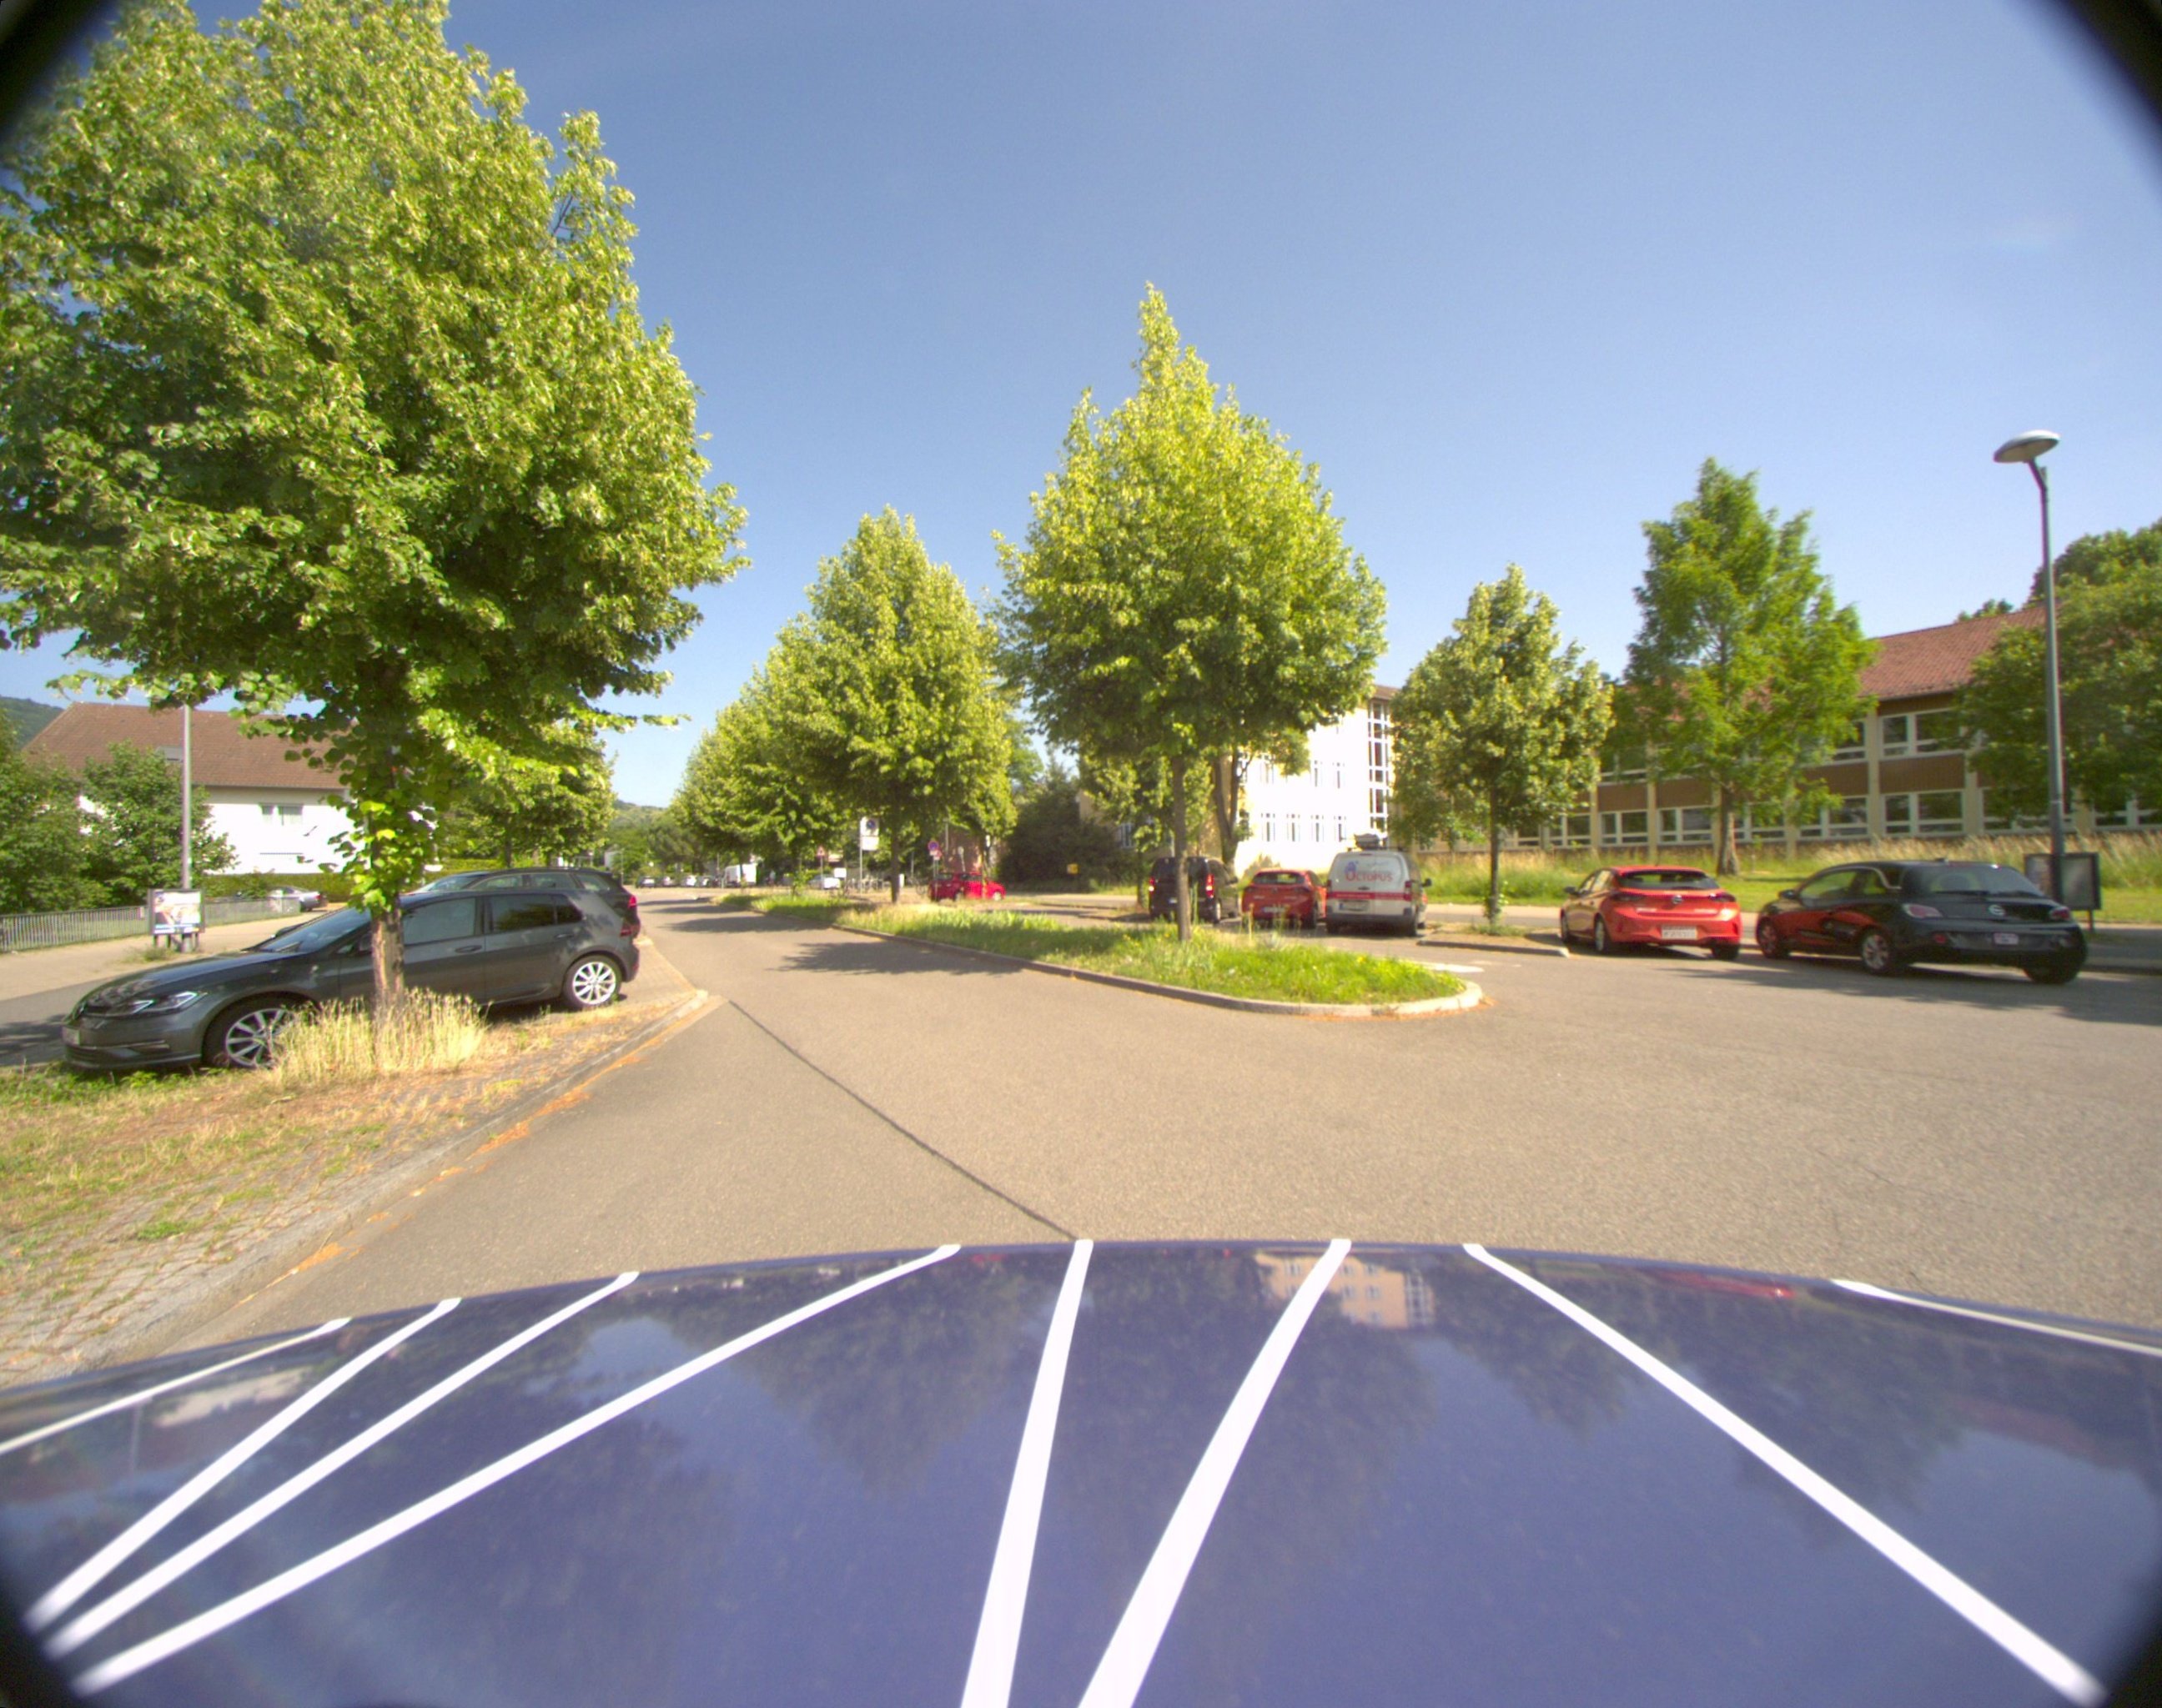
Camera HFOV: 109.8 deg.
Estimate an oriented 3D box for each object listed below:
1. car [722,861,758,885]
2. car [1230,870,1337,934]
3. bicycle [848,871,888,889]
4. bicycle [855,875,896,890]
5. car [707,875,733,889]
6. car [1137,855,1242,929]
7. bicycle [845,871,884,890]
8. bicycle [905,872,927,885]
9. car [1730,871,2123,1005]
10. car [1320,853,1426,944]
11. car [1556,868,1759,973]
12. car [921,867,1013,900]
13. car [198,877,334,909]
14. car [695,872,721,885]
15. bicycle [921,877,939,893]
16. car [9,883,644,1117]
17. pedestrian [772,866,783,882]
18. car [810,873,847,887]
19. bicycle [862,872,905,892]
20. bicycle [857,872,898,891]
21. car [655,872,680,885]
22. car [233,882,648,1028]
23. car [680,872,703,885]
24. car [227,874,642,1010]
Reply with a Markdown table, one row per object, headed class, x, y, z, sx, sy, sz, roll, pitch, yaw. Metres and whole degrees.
| class | x | y | z | sx | sy | sz | roll | pitch | yaw |
| --- | --- | --- | --- | --- | --- | --- | --- | --- | --- |
| car | -37.199 | 2.137 | 82.724 | 2.100 | 2.481 | 5.937 | 1 | -2 | -40 |
| car | 5.176 | 1.140 | 19.090 | 1.851 | 1.419 | 3.782 | -2 | -2 | 26 |
| bicycle | -14.711 | 1.778 | 52.428 | 2.558 | 1.231 | 0.738 | 1 | -2 | -35 |
| bicycle | -13.864 | 1.894 | 51.316 | 2.558 | 0.981 | 0.738 | 1 | -2 | -35 |
| car | -41.274 | 3.198 | 86.870 | 1.729 | 1.549 | 3.990 | 1 | -2 | -41 |
| car | 3.080 | 1.000 | 20.828 | 2.000 | 1.805 | 4.195 | -2 | -2 | 20 |
| bicycle | -15.149 | 1.853 | 53.224 | 2.558 | 1.248 | 0.738 | 1 | -2 | -35 |
| bicycle | -13.836 | 2.034 | 63.780 | 1.714 | 1.074 | 0.378 | -2 | -1 | 8 |
| car | 10.840 | 0.946 | 10.226 | 1.852 | 1.414 | 3.780 | 0 | -1 | 17 |
| car | 6.534 | 0.883 | 16.764 | 1.815 | 1.761 | 3.781 | -1 | 0 | 26 |
| car | 9.376 | 0.975 | 12.723 | 1.712 | 1.415 | 3.849 | -1 | 0 | 22 |
| car | -5.244 | 1.365 | 35.308 | 1.994 | 1.457 | 4.009 | -2 | -2 | 36 |
| car | -39.318 | 1.872 | 36.816 | 4.136 | 1.389 | 1.807 | 0 | -4 | -33 |
| car | -44.525 | 2.930 | 90.608 | 1.729 | 1.549 | 4.660 | 1 | -2 | -41 |
| bicycle | -8.721 | 1.800 | 43.800 | 0.523 | 0.898 | 1.267 | 1 | -1 | -38 |
| car | -7.075 | 1.137 | 7.702 | 1.995 | 1.521 | 4.125 | -2 | -1 | 28 |
| pedestrian | -33.639 | 2.229 | 84.131 | 0.978 | 1.769 | 0.723 | -1 | 0 | -37 |
| car | -22.208 | 2.296 | 66.801 | 1.729 | 1.259 | 3.990 | 1 | -2 | -41 |
| bicycle | -12.839 | 1.799 | 49.375 | 2.557 | 1.249 | 0.738 | -1 | -1 | -35 |
| bicycle | -13.475 | 1.802 | 50.281 | 2.528 | 1.248 | 0.738 | 1 | -2 | -35 |
| car | -56.282 | 3.382 | 103.372 | 1.851 | 1.753 | 4.573 | 1 | -2 | -42 |
| car | -8.521 | 1.204 | 10.554 | 1.764 | 1.465 | 4.007 | -2 | -1 | 28 |
| car | -48.782 | 3.038 | 95.083 | 1.729 | 1.549 | 3.990 | 1 | -2 | -41 |
| car | -9.943 | 1.200 | 12.233 | 1.748 | 1.650 | 4.755 | -1 | -1 | 27 |
